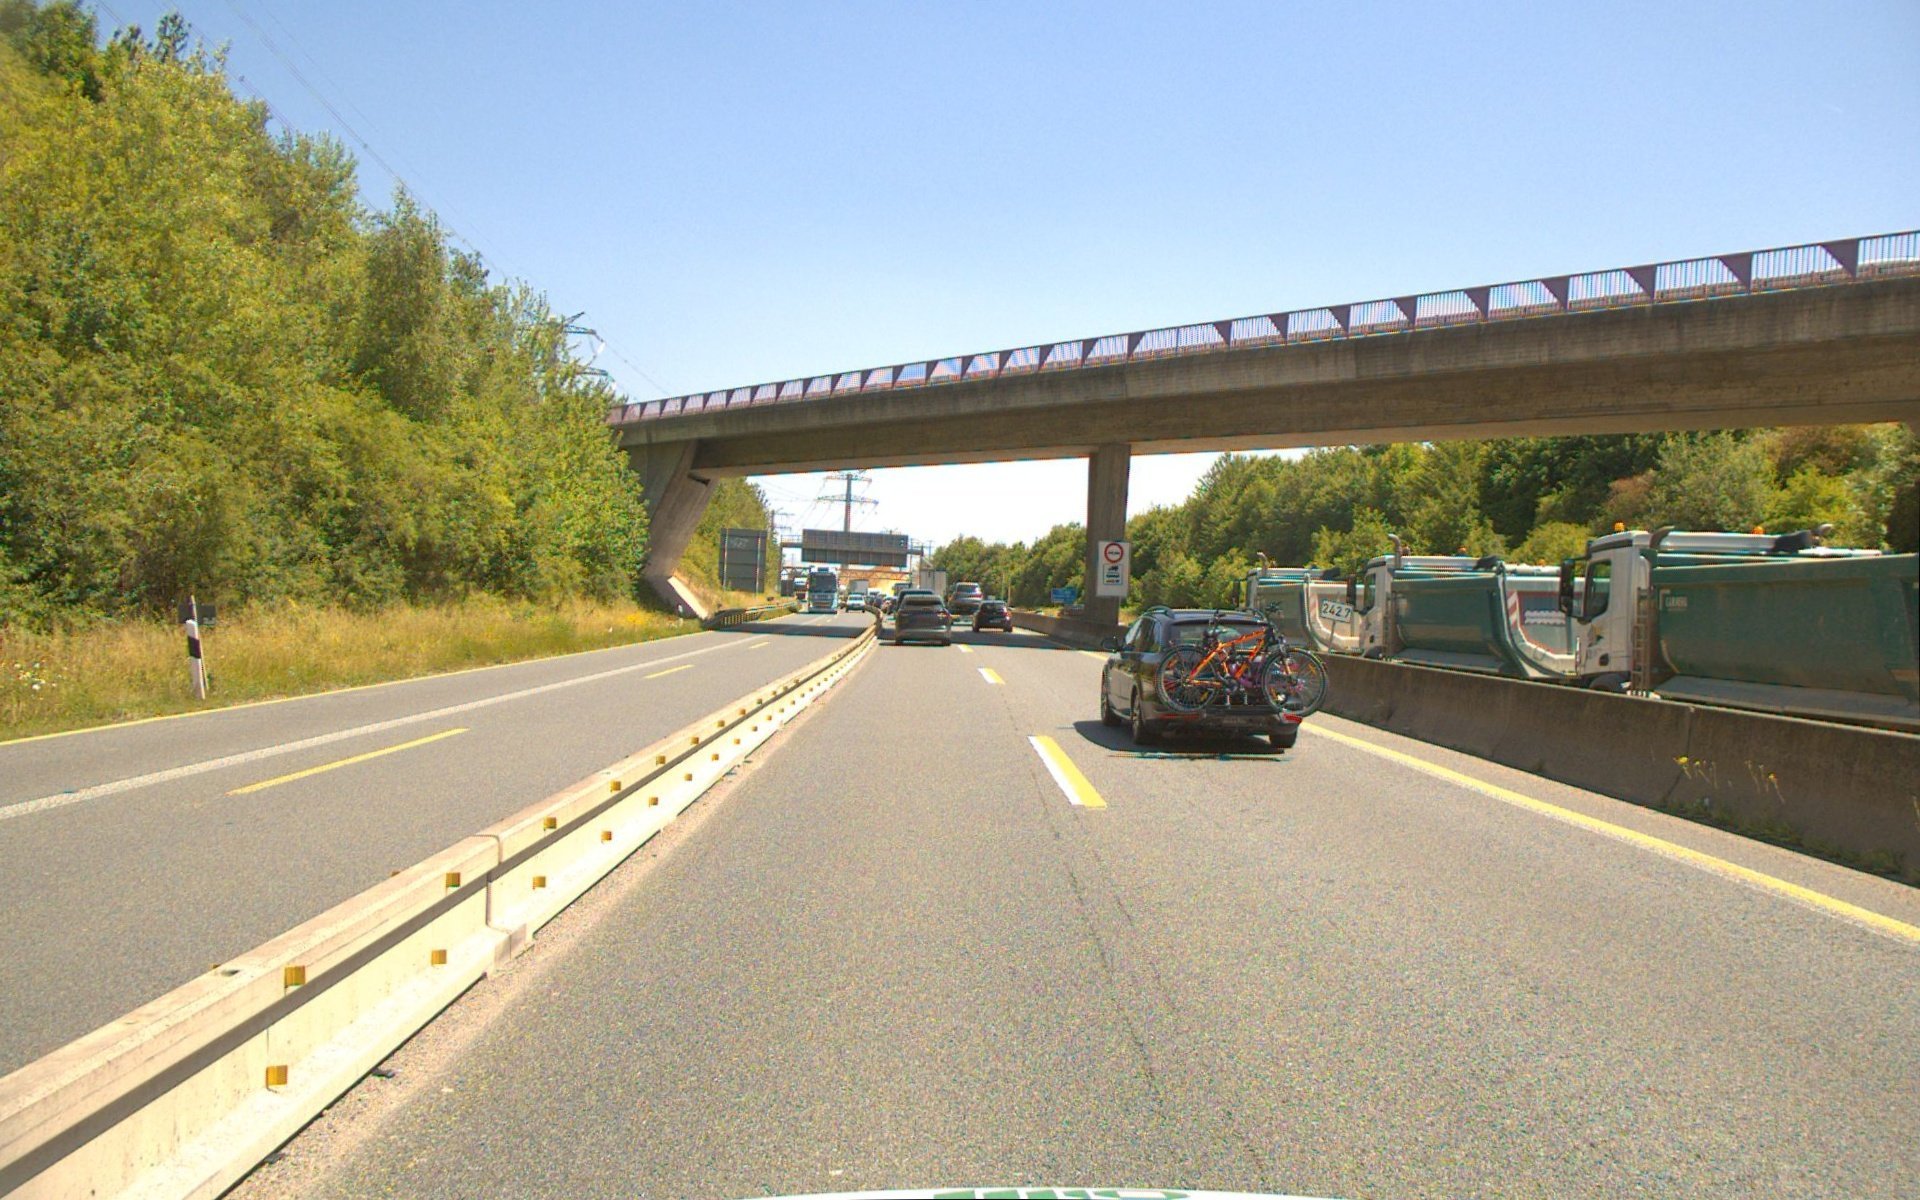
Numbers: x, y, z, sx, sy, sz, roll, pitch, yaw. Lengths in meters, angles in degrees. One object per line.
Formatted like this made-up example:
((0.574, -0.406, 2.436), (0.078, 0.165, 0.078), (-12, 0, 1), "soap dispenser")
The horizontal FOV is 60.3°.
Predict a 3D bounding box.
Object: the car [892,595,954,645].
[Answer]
((-1.157, 0.641, 54.071), (1.860, 1.531, 4.276), (1, 0, 0), "car")

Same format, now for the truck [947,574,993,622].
((0.527, -0.115, 95.474), (2.357, 2.603, 7.498), (1, 0, -1), "truck")

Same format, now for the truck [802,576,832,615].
((-12.345, -0.373, 142.702), (2.459, 3.242, 10.098), (1, 0, -5), "truck")

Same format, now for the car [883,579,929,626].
((-2.387, 0.102, 74.210), (1.860, 2.003, 4.276), (1, 0, 0), "car")

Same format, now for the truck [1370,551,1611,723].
((12.529, 0.784, 40.104), (2.633, 3.619, 9.323), (1, 0, -1), "truck")

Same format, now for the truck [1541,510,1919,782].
((12.907, 0.647, 28.008), (2.633, 3.792, 9.323), (1, 0, -1), "truck")

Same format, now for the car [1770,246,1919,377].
((23.461, -7.307, 42.014), (2.235, 2.584, 4.718), (2, -1, -36), "car")

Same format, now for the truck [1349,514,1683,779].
((9.454, 0.693, 29.493), (2.632, 3.923, 9.323), (1, 0, -1), "truck")

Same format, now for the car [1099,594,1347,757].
((2.729, 0.737, 18.332), (1.861, 1.516, 4.946), (1, 0, -1), "car")

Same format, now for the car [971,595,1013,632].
((1.457, 0.610, 77.080), (1.860, 1.613, 4.276), (1, 0, 0), "car")

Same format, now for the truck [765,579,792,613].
((-18.308, -0.392, 167.593), (2.459, 3.242, 10.098), (1, 0, -5), "truck")

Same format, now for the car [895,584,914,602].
((-6.287, -0.788, 187.879), (1.862, 2.003, 4.271), (1, 0, -5), "car")

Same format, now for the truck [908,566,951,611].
((-2.868, -1.024, 152.026), (3.228, 3.912, 10.098), (1, 0, -5), "truck")

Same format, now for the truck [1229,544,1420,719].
((9.048, 0.713, 42.277), (2.632, 3.910, 9.323), (1, 0, -1), "truck")

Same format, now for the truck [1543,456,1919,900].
((9.531, 0.687, 18.397), (2.632, 3.826, 9.323), (1, 0, -1), "truck")

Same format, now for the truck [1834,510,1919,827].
((12.343, 0.812, 16.026), (2.633, 3.619, 9.323), (1, 0, -1), "truck")

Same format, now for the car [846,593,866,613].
((-9.783, 0.283, 155.182), (1.728, 1.870, 3.996), (1, 0, -5), "car")

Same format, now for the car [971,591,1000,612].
((1.961, 0.126, 130.070), (1.862, 1.613, 4.272), (1, 0, -4), "car")
